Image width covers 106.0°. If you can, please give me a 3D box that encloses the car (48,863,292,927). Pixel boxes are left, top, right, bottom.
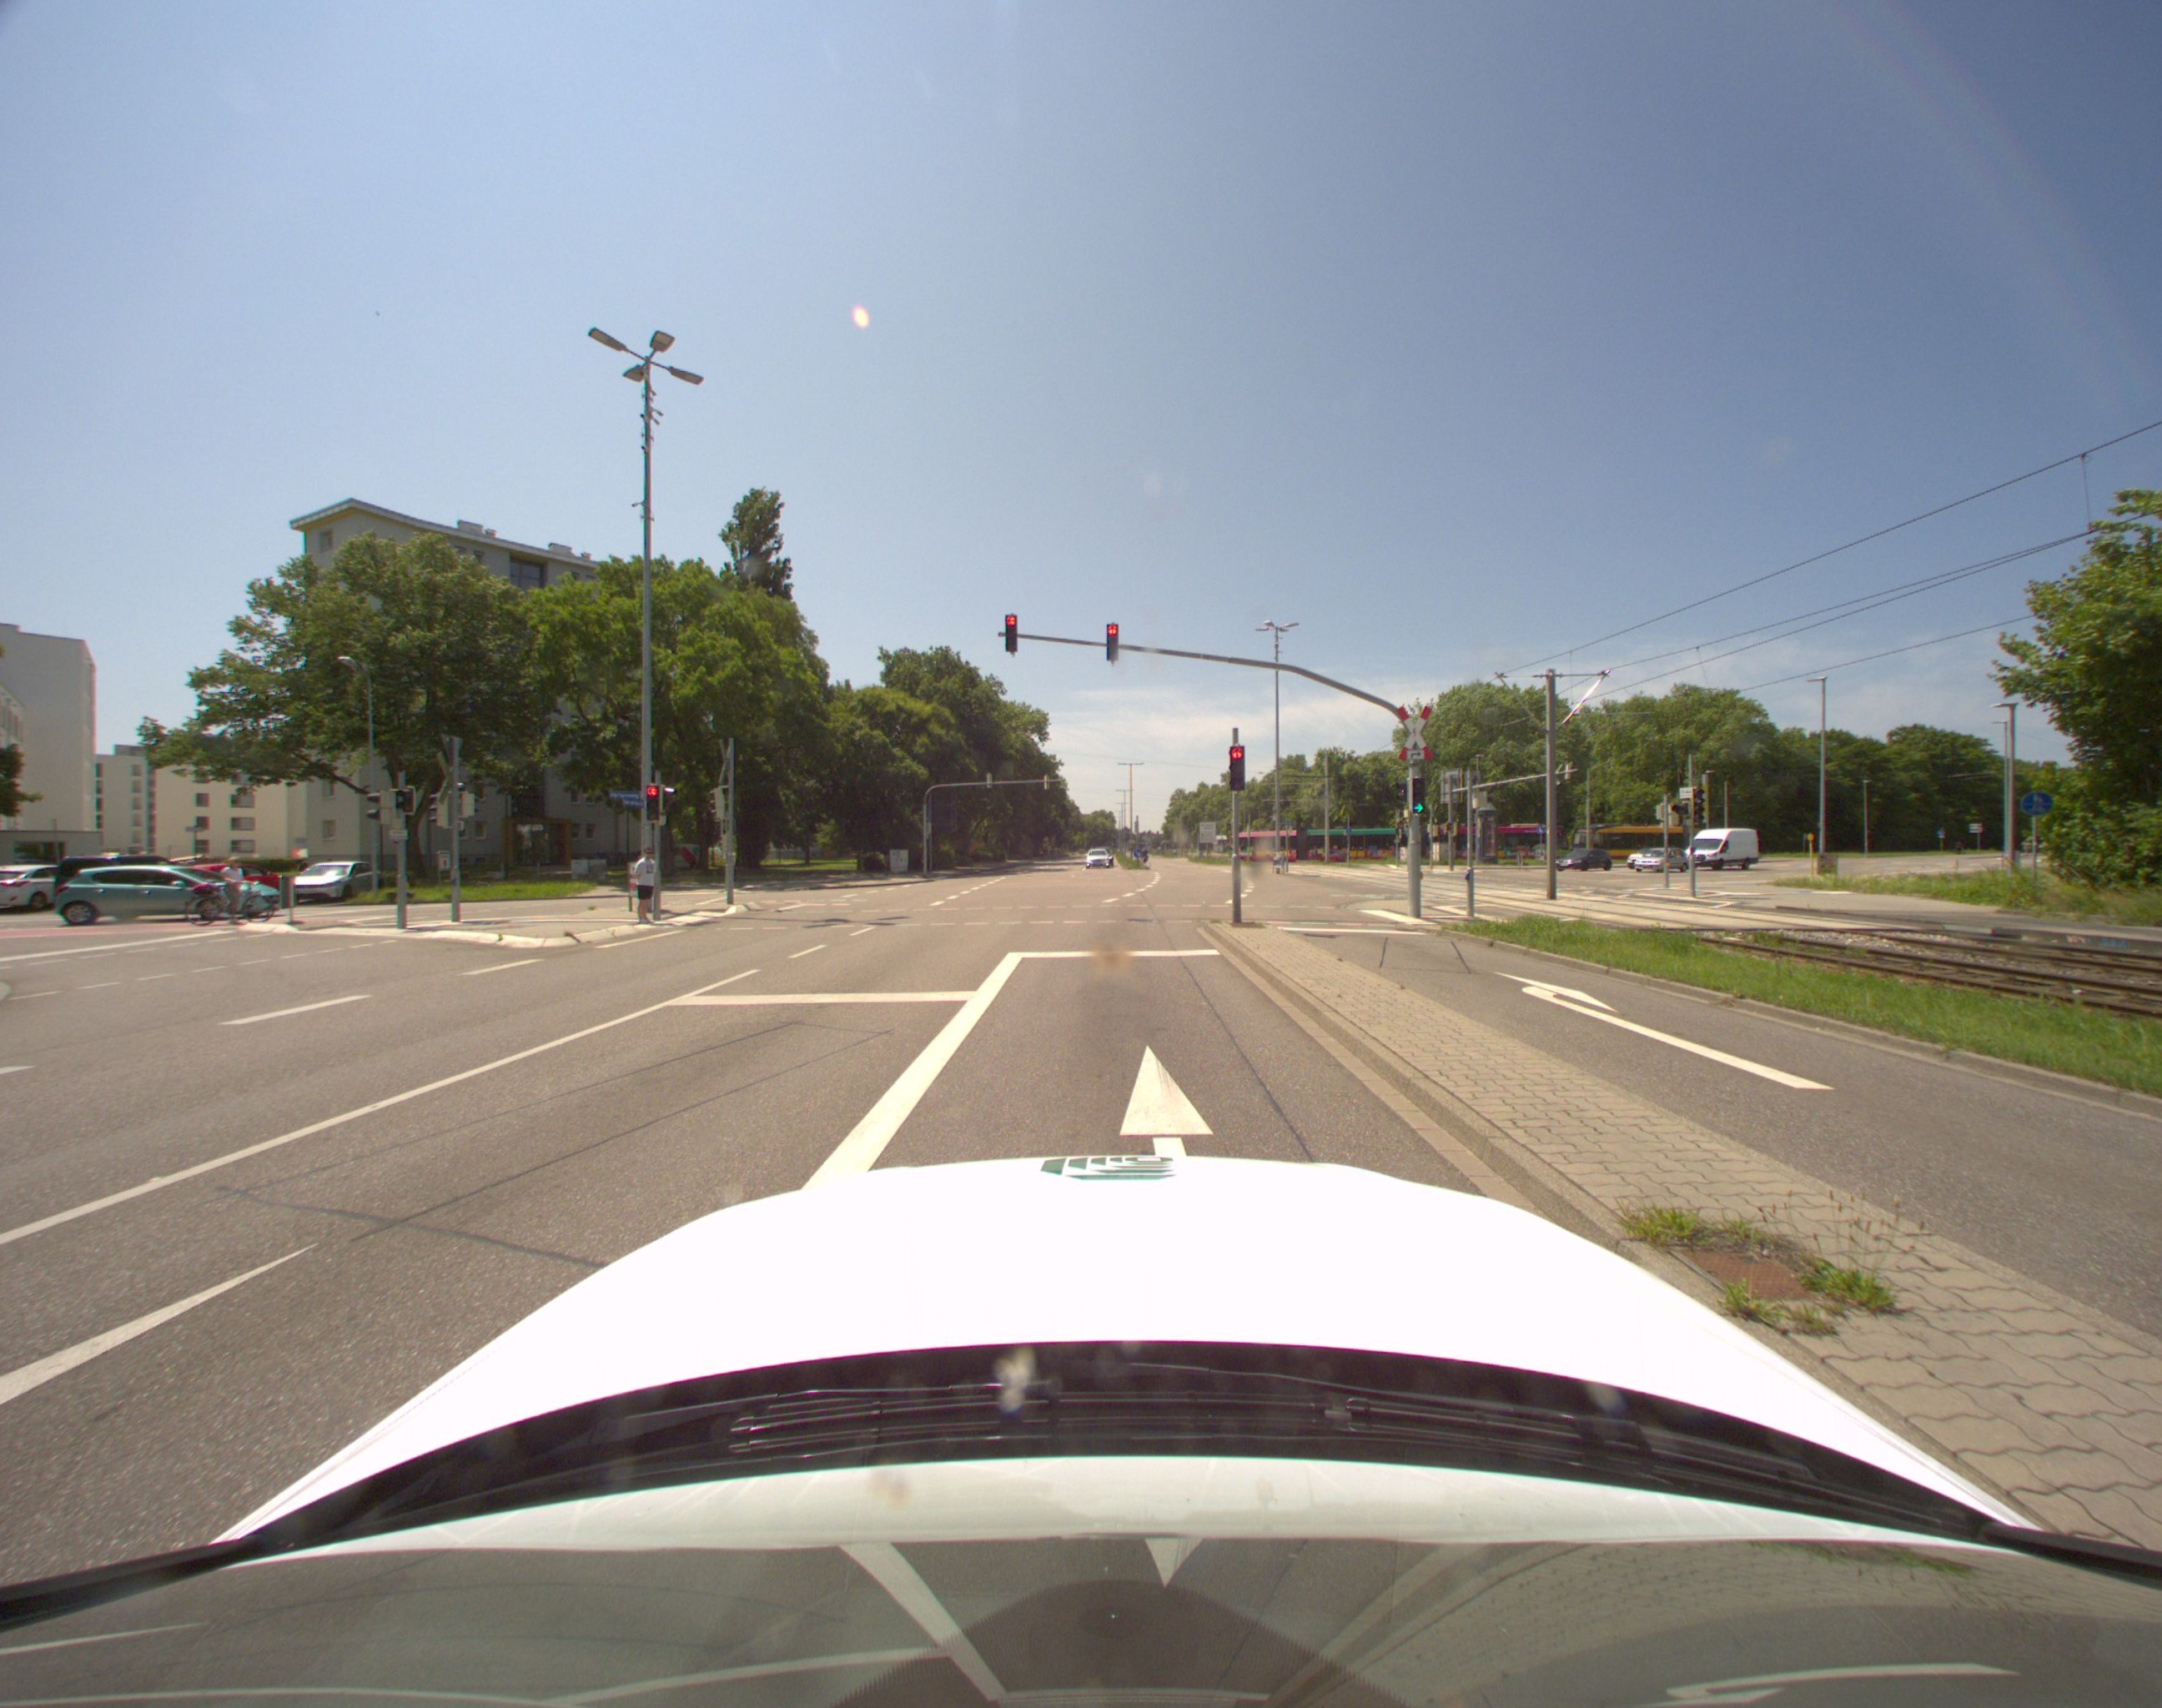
[{"bbox_3d":[-23.968,1.031,21.636,3.901,1.468,1.762,-1,0,-23],"label":"car"}]

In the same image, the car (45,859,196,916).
[{"bbox_3d":[-33.984,1.117,28.980,1.710,1.800,3.973,1,0,-20],"label":"car"}]

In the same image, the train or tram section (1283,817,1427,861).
[{"bbox_3d":[26.716,-1.347,80.229,13.282,3.812,2.941,-1,-3,38],"label":"train or tram section"}]

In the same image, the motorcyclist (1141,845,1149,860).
[{"bbox_3d":[6.860,-0.148,87.144,0.786,1.643,1.212,1,0,3],"label":"motorcyclist"}]

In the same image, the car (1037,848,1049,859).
[{"bbox_3d":[-7.179,-0.143,153.792,1.987,2.013,3.999,3,0,-1],"label":"car"}]

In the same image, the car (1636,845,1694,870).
[{"bbox_3d":[36.055,0.192,50.272,3.820,1.463,1.623,-1,0,-33],"label":"car"}]

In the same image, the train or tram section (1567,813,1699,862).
[{"bbox_3d":[51.595,-1.418,75.954,13.972,3.920,2.902,2,-3,-22],"label":"train or tram section"}]

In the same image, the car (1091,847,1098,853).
[{"bbox_3d":[3.624,-1.146,212.003,1.664,1.490,3.713,0,0,3],"label":"car"}]

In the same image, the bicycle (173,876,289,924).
[{"bbox_3d":[-20.974,1.127,20.138,1.870,1.093,0.642,-1,0,-21],"label":"bicycle"}]

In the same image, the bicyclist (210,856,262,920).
[{"bbox_3d":[-20.917,0.817,20.163,0.666,1.537,0.627,0,0,-20],"label":"bicyclist"}]

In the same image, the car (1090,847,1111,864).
[{"bbox_3d":[1.687,0.105,70.101,1.704,1.365,3.868,0,0,3],"label":"car"}]

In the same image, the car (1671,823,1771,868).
[{"bbox_3d":[42.820,-0.579,54.402,7.305,2.802,2.691,-1,0,-30],"label":"car"}]

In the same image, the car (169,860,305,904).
[{"bbox_3d":[-31.501,1.007,30.566,1.620,1.464,3.982,1,0,-14],"label":"car"}]

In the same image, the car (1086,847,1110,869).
[{"bbox_3d":[1.350,0.294,62.812,1.777,1.628,3.868,0,0,3],"label":"car"}]

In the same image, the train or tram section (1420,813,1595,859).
[{"bbox_3d":[38.782,-1.580,74.691,13.900,3.920,2.933,0,-3,13],"label":"train or tram section"}]

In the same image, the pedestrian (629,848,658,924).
[{"bbox_3d":[-9.776,0.706,18.206,0.381,1.687,0.485,0,0,-1],"label":"pedestrian"}]

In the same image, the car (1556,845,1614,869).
[{"bbox_3d":[32.080,0.157,51.817,3.519,1.463,1.625,-1,1,-30],"label":"car"}]

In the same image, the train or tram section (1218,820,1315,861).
[{"bbox_3d":[19.982,-1.292,89.003,2.929,3.812,12.962,2,-3,-26],"label":"train or tram section"}]

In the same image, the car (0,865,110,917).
[{"bbox_3d":[-36.050,1.215,28.099,1.712,1.592,3.968,1,0,-24],"label":"car"}]

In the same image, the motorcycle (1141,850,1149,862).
[{"bbox_3d":[6.856,0.162,87.079,0.843,1.255,2.451,1,0,4],"label":"motorcycle"}]

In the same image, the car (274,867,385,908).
[{"bbox_3d":[-28.513,1.223,31.047,1.629,1.380,3.975,1,0,-19],"label":"car"}]

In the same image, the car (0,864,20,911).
[{"bbox_3d":[-38.766,1.200,27.626,1.857,1.668,3.964,-1,0,-28],"label":"car"}]

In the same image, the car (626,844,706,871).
[{"bbox_3d":[-28.587,0.226,56.152,1.769,1.768,4.577,0,0,42],"label":"car"}]
